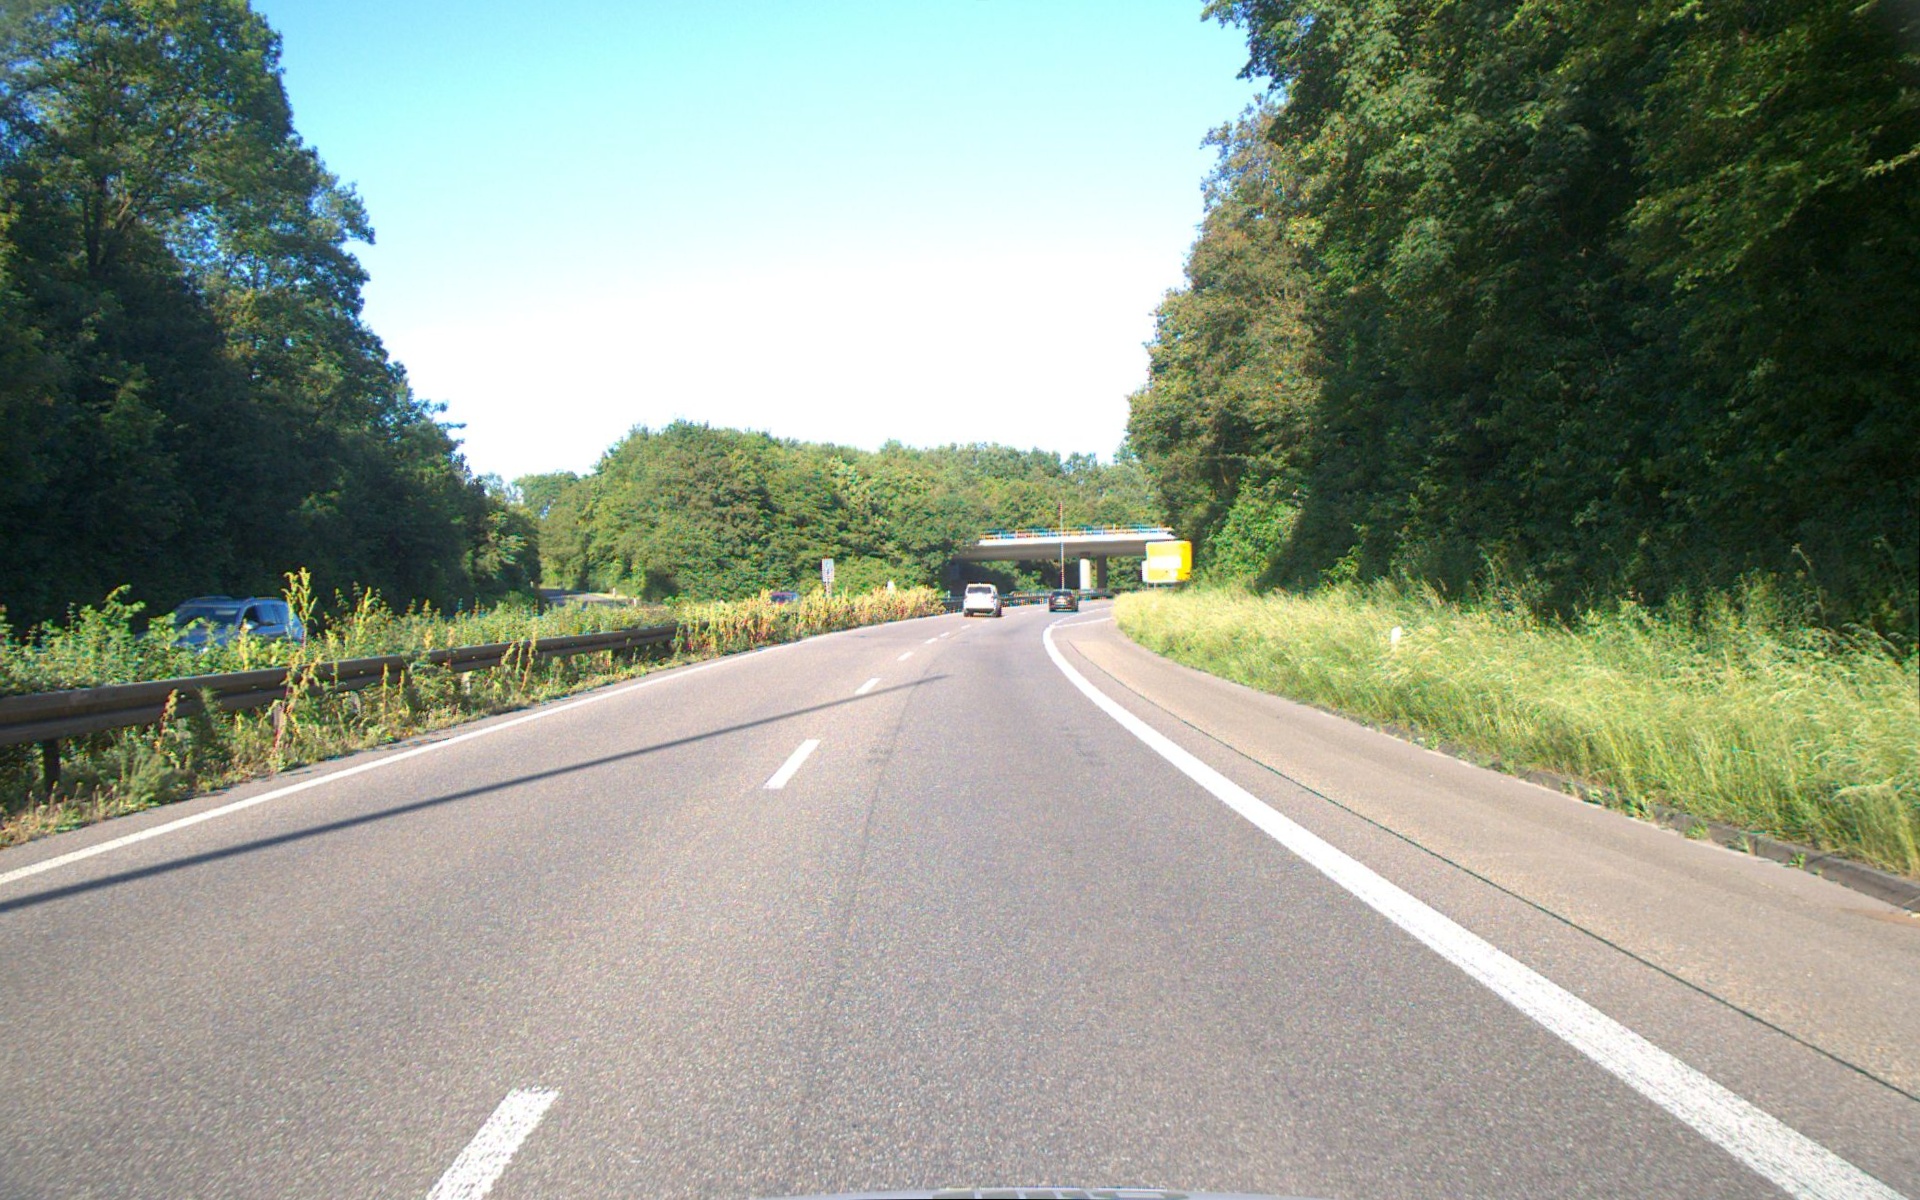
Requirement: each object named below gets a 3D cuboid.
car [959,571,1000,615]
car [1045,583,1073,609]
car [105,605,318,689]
[{"bbox_3d":[1.097,-0.405,91.264,1.951,2.317,4.002,-1,0,4],"label":"car"},{"bbox_3d":[6.688,-0.306,111.411,1.702,1.691,3.948,-1,0,5],"label":"car"},{"bbox_3d":[-14.676,0.875,32.812,1.953,1.512,5.237,0,0,-2],"label":"car"}]
